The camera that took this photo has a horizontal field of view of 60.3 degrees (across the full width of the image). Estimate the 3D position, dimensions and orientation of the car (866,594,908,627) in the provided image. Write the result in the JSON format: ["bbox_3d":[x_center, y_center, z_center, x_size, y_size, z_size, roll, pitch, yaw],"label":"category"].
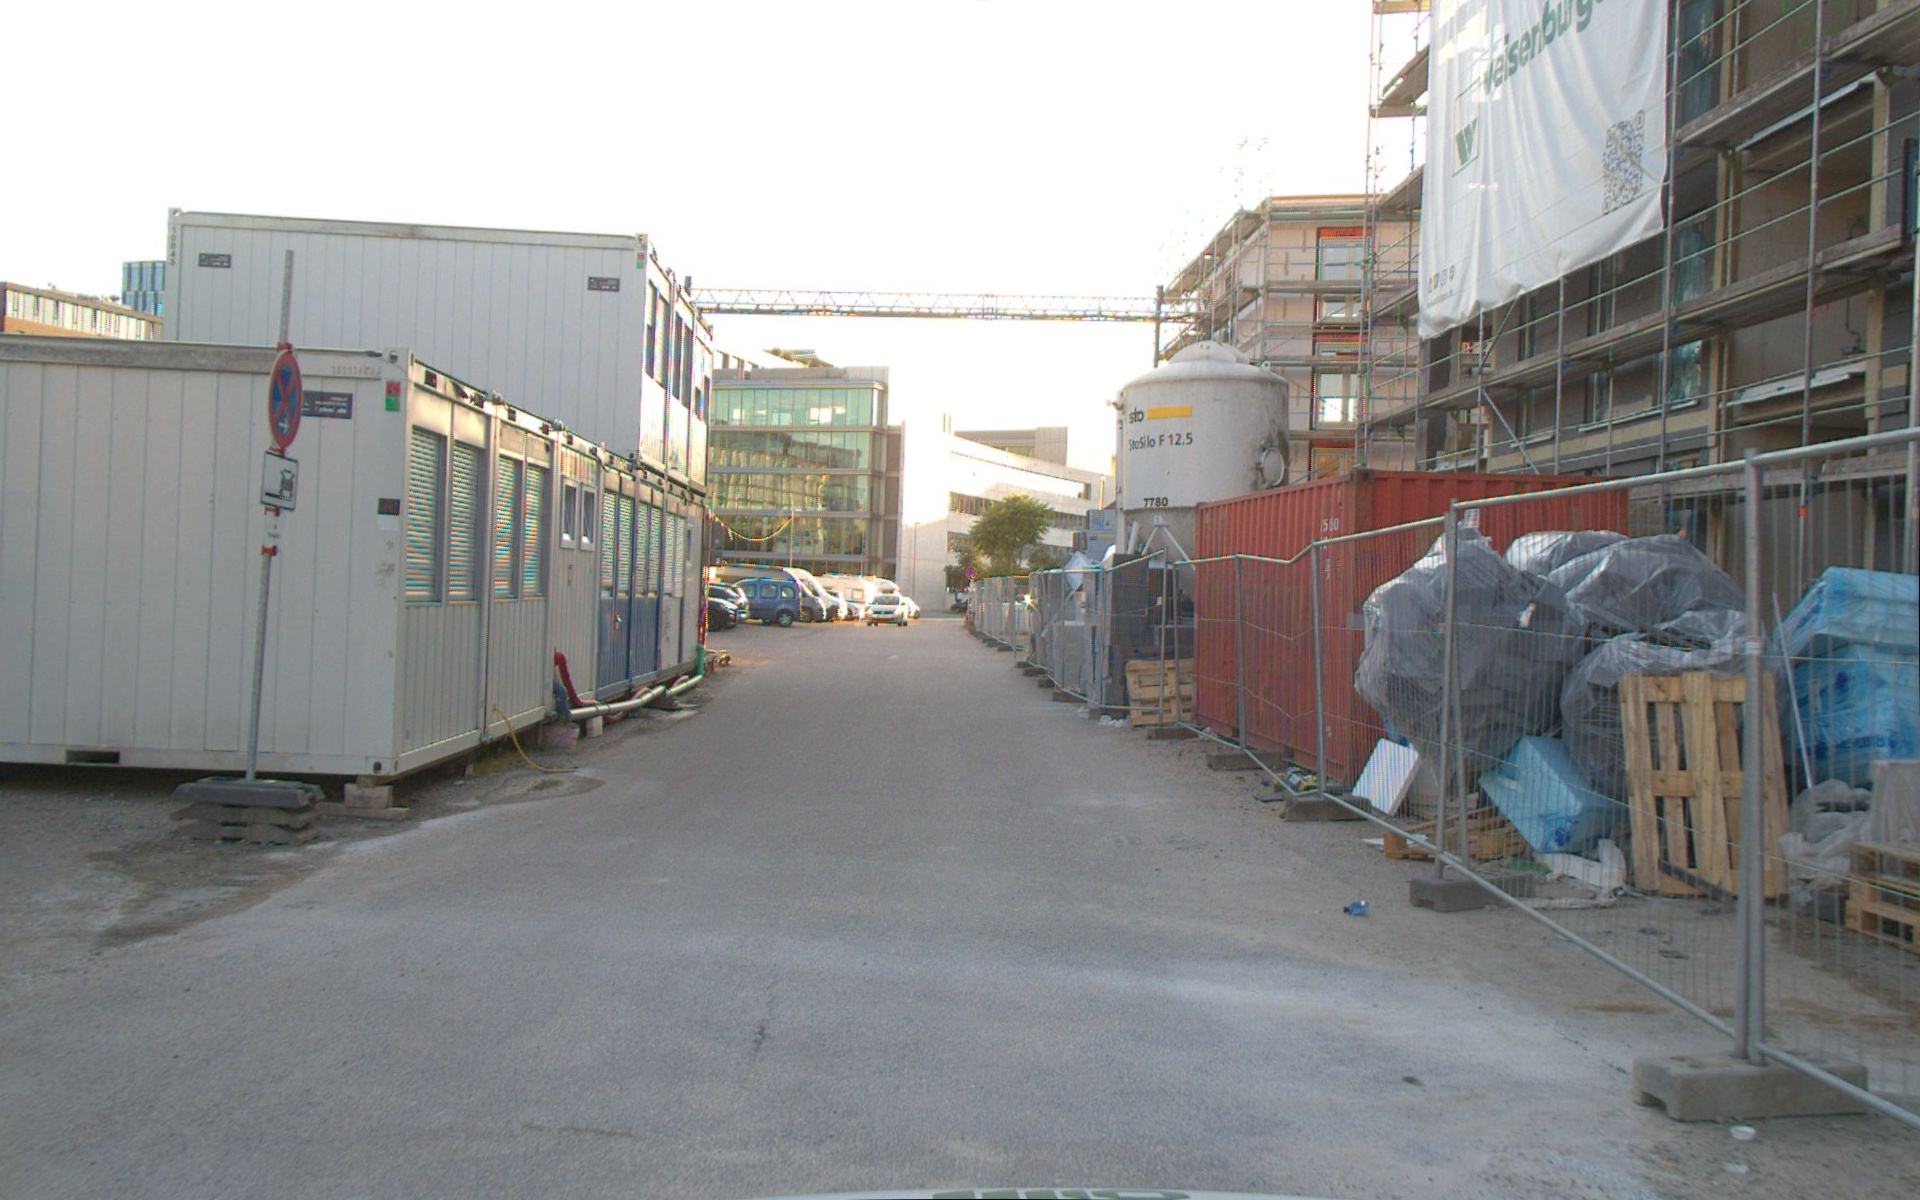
[{"bbox_3d":[-3.614,0.525,82.253,1.630,1.555,3.912,2,0,4],"label":"car"}]

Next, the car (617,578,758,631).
[{"bbox_3d":[-9.473,0.149,57.596,4.408,1.676,2.001,2,0,7],"label":"car"}]

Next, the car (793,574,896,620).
[{"bbox_3d":[-6.910,-0.182,99.166,5.797,2.533,2.002,2,0,9],"label":"car"}]

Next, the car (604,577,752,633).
[{"bbox_3d":[-9.344,0.159,54.950,4.408,1.676,2.001,2,0,7],"label":"car"}]

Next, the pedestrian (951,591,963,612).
[{"bbox_3d":[-0.278,0.107,145.083,0.748,1.848,0.845,1,0,22],"label":"pedestrian"}]

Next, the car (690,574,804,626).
[{"bbox_3d":[-8.487,0.003,66.086,4.418,1.901,1.997,2,0,-8],"label":"car"}]

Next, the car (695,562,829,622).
[{"bbox_3d":[-9.532,-0.391,79.945,6.200,2.697,1.999,2,0,-2],"label":"car"}]

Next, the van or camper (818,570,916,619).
[{"bbox_3d":[-6.343,-0.351,113.095,6.198,3.031,2.294,2,0,11],"label":"van or camper"}]

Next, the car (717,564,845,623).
[{"bbox_3d":[-9.030,-0.346,83.858,6.200,2.789,1.999,2,0,-2],"label":"car"}]

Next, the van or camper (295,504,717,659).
[{"bbox_3d":[-9.947,-0.399,36.861,8.586,3.102,2.594,2,0,0],"label":"van or camper"}]
